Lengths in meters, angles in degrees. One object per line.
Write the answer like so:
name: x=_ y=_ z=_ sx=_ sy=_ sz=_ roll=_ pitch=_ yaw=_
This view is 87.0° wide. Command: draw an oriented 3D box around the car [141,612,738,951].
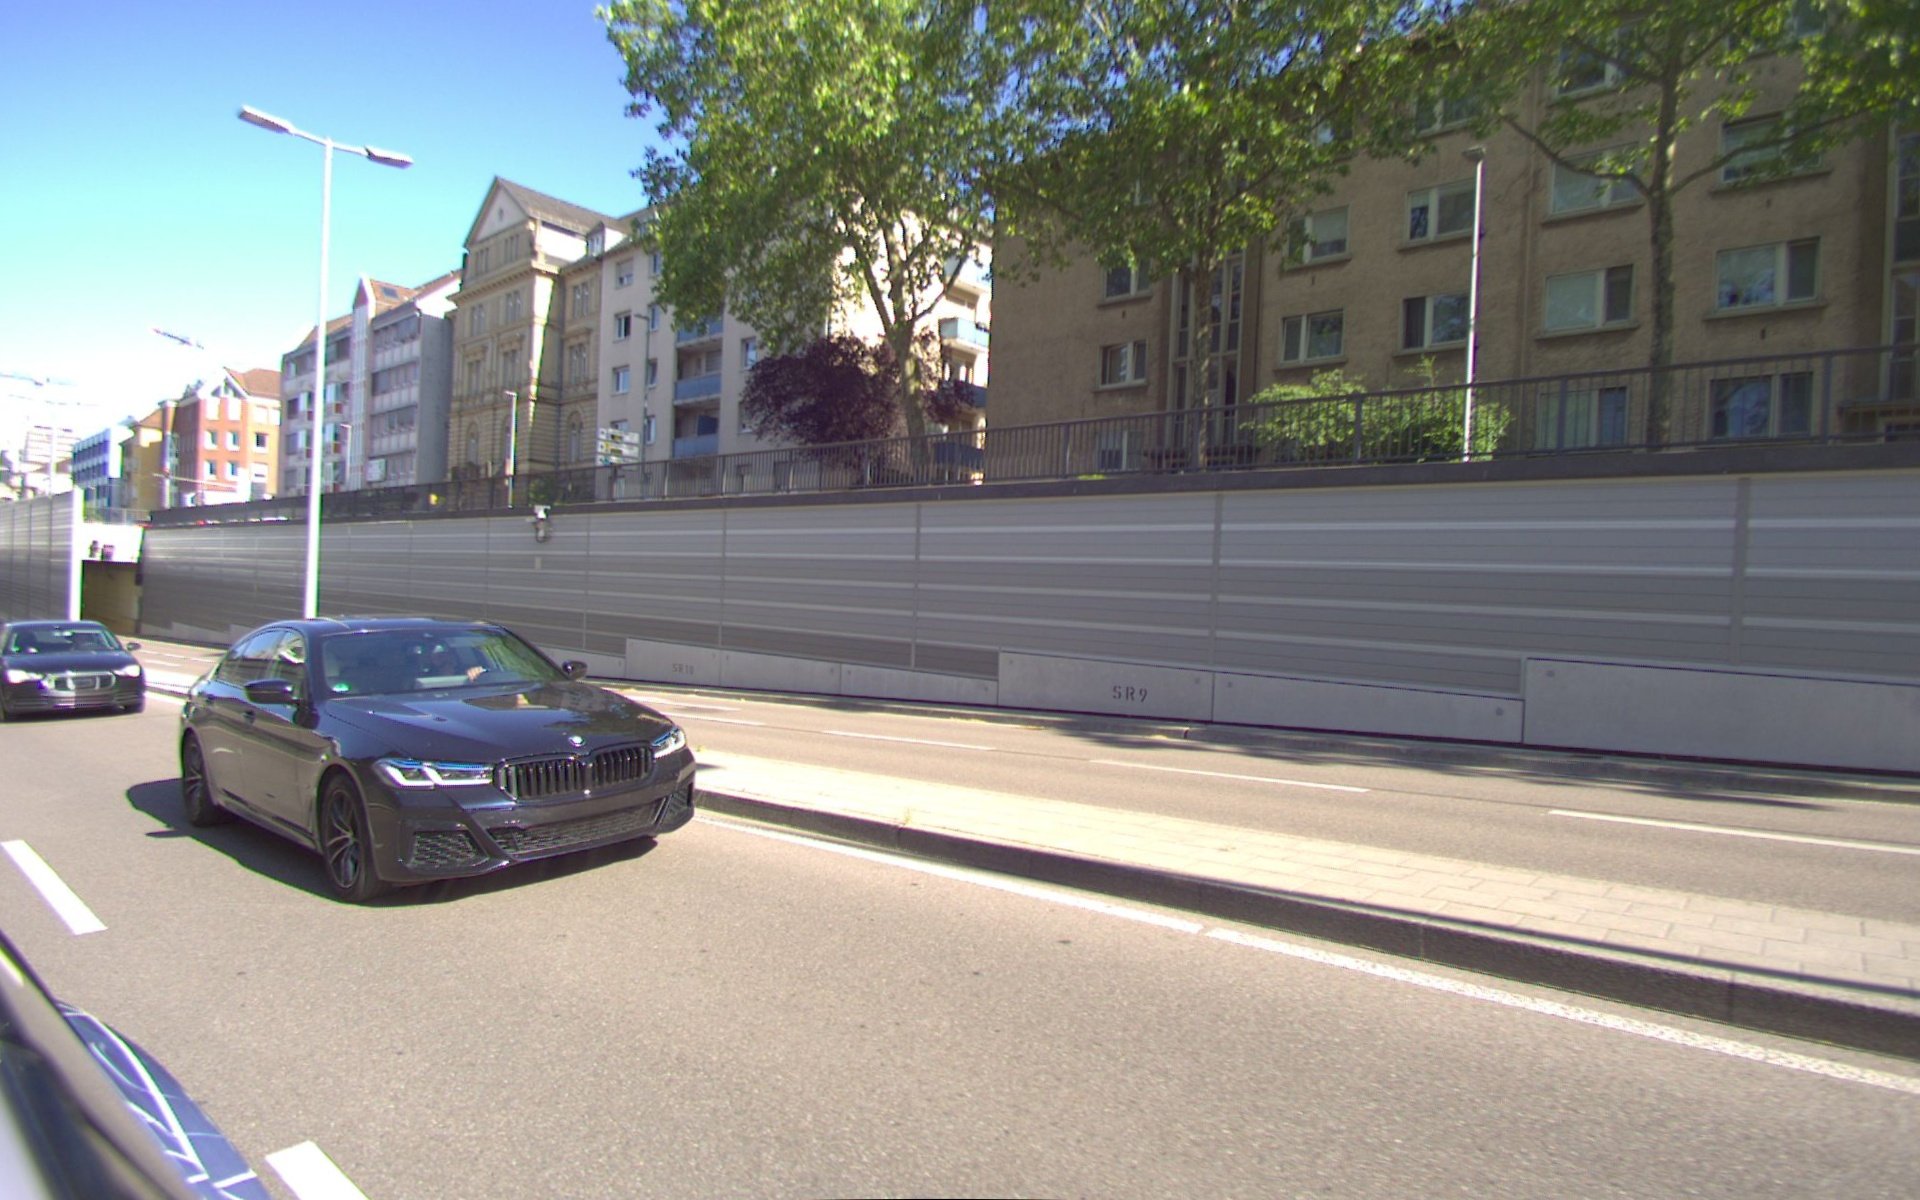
car: x=-3.734 y=0.827 z=6.714 sx=4.999 sy=1.450 sz=1.790 roll=-1 pitch=-1 yaw=41

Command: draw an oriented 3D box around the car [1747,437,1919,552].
car: x=14.836 y=-1.594 z=15.547 sx=4.300 sy=1.596 sz=1.902 roll=1 pitch=1 yaw=39

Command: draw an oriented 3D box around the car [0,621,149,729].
car: x=-13.934 y=1.050 z=15.505 sx=3.886 sy=1.429 sz=1.678 roll=-1 pitch=-1 yaw=41
